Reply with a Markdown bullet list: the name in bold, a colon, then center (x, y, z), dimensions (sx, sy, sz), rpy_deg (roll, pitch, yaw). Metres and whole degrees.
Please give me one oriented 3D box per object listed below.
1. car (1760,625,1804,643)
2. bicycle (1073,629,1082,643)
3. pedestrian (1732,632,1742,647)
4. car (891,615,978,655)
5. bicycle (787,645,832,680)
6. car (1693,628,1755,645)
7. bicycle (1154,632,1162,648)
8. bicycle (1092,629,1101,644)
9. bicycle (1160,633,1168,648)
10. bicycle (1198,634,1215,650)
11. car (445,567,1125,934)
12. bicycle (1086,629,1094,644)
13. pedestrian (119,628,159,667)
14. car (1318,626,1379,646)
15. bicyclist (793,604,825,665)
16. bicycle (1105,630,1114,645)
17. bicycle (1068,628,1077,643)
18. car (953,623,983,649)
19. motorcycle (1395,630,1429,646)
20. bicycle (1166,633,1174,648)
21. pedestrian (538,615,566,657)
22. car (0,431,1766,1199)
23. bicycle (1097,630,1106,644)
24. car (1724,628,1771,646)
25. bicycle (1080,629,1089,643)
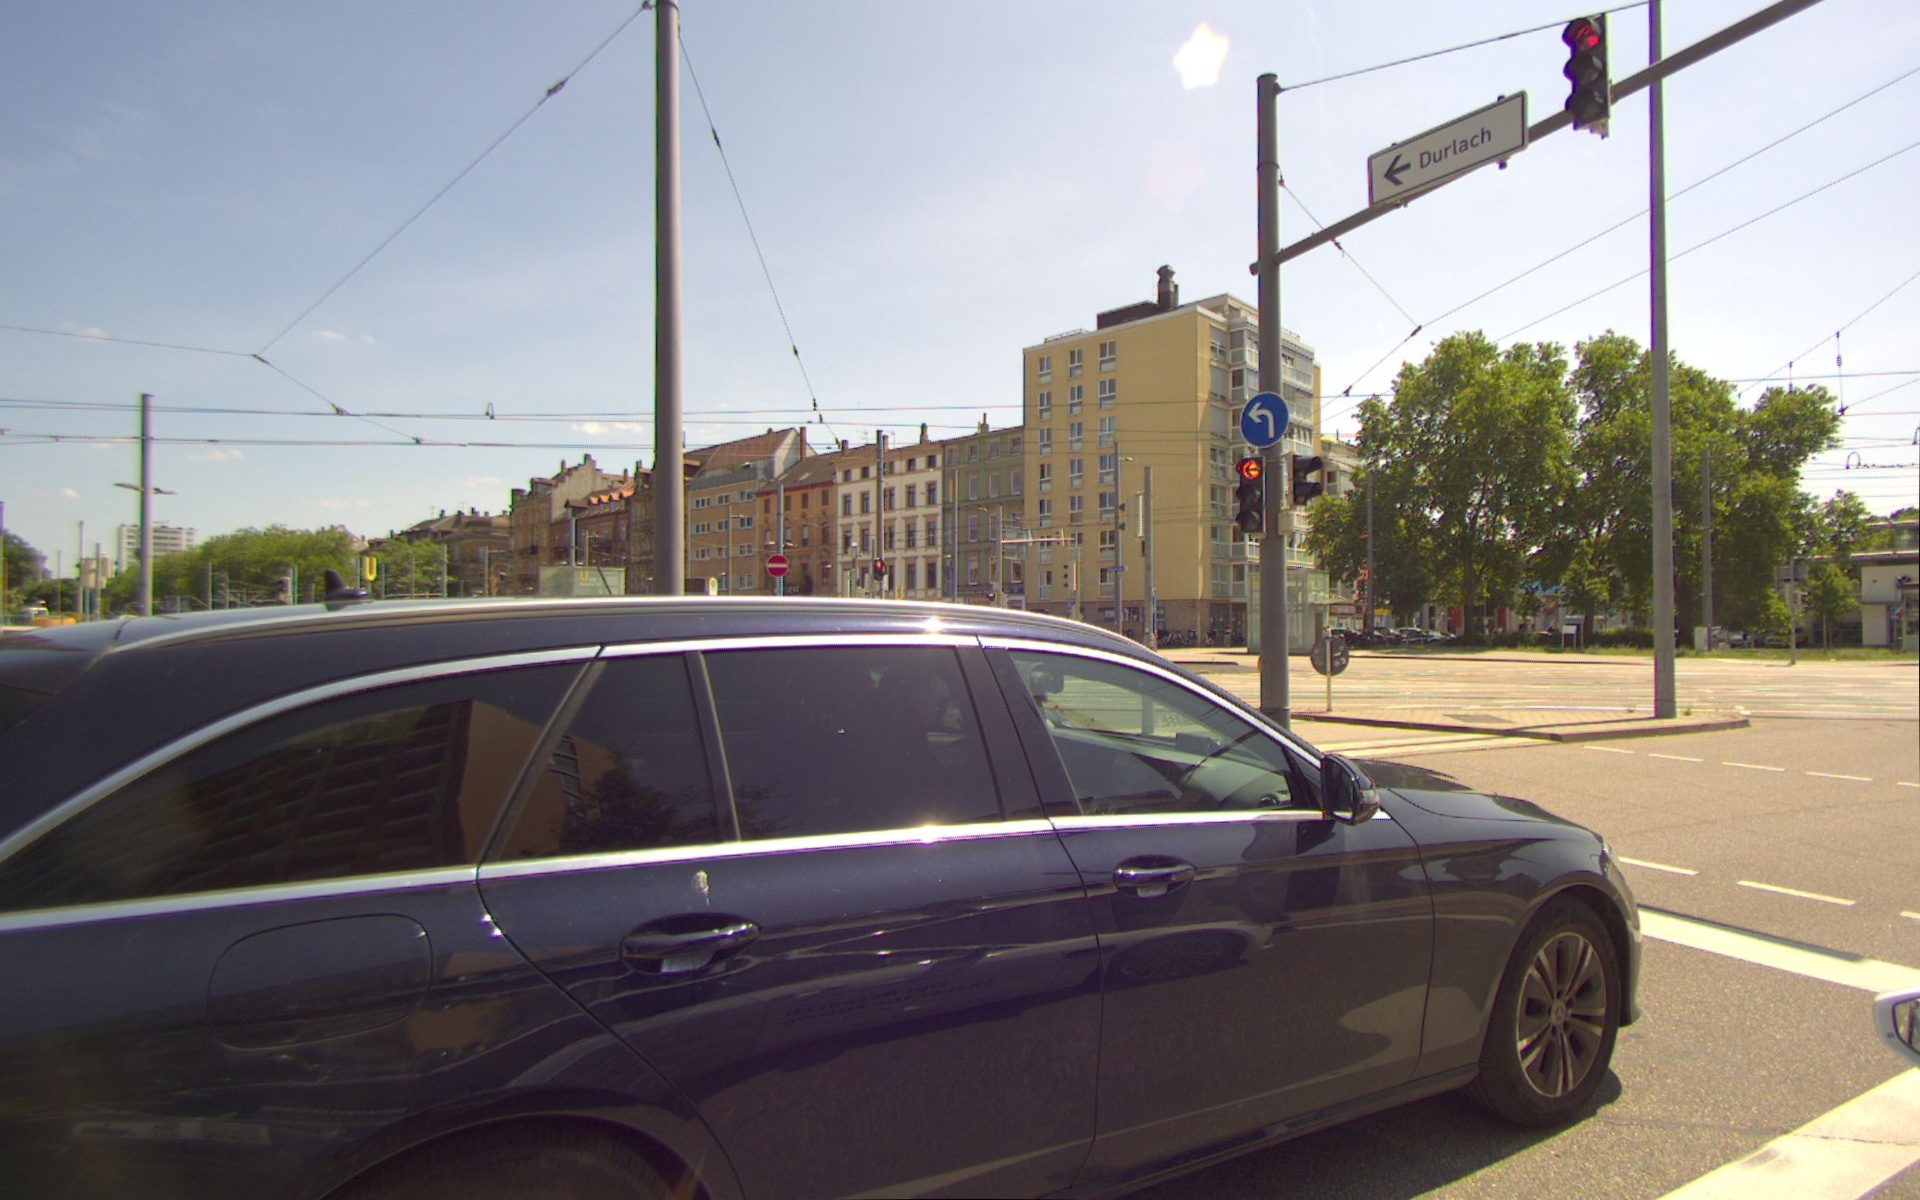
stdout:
- **car**: center (69.157, 2.844, 84.455), dimensions (4.283, 1.530, 1.756), rpy_deg (1, -2, -35)
- **bicycle**: center (8.696, 2.624, 74.010), dimensions (0.424, 1.040, 1.445), rpy_deg (0, -1, 16)
- **pedestrian**: center (65.272, 3.299, 84.338), dimensions (0.439, 1.220, 0.511), rpy_deg (1, -1, -24)
- **car**: center (-1.432, 1.867, 54.052), dimensions (1.987, 2.084, 4.807), rpy_deg (1, -2, -44)
- **bicycle**: center (-3.972, 1.620, 26.359), dimensions (0.620, 0.866, 1.887), rpy_deg (1, -2, -26)
- **car**: center (71.000, 3.380, 93.401), dimensions (4.245, 1.530, 1.771), rpy_deg (-1, -2, 26)
- **bicycle**: center (13.614, 2.752, 69.136), dimensions (0.424, 1.040, 1.445), rpy_deg (0, -1, 16)
- **bicycle**: center (9.926, 2.657, 72.968), dimensions (0.424, 1.040, 1.445), rpy_deg (0, -1, 16)
- **bicycle**: center (13.988, 2.762, 68.825), dimensions (0.424, 1.040, 1.445), rpy_deg (0, -1, 16)
- **bicycle**: center (16.772, 2.847, 68.291), dimensions (0.427, 1.040, 1.435), rpy_deg (-1, -2, 44)
- **car**: center (-0.998, 0.701, 6.056), dimensions (3.692, 1.597, 1.736), rpy_deg (1, -2, -30)
- **bicycle**: center (9.484, 2.645, 73.264), dimensions (0.424, 1.040, 1.445), rpy_deg (0, -1, 16)
- **pedestrian**: center (-28.874, 1.657, 35.336), dimensions (0.978, 1.352, 0.527), rpy_deg (0, -1, 2)
- **car**: center (29.471, 2.726, 76.278), dimensions (3.940, 1.439, 1.991), rpy_deg (-1, -2, 40)
- **bicyclist**: center (-3.984, 0.888, 26.464), dimensions (0.433, 1.549, 1.245), rpy_deg (2, 0, -26)
- **bicycle**: center (10.760, 2.680, 72.312), dimensions (0.424, 1.040, 1.445), rpy_deg (0, -1, 16)
- **bicycle**: center (8.354, 2.615, 74.349), dimensions (0.424, 1.040, 1.445), rpy_deg (0, -1, 16)
- **car**: center (0.558, 2.535, 70.489), dimensions (1.803, 1.773, 3.998), rpy_deg (0, -1, -4)
- **motorcycle**: center (28.411, 2.369, 63.092), dimensions (1.887, 0.974, 0.524), rpy_deg (-1, -1, 31)
- **bicycle**: center (14.358, 2.772, 68.560), dimensions (0.424, 1.040, 1.445), rpy_deg (0, -1, 16)
- **pedestrian**: center (-18.118, 1.592, 44.584), dimensions (1.114, 1.837, 0.677), rpy_deg (-1, -2, 38)
- **car**: center (0.105, 0.665, 2.852), dimensions (4.747, 1.662, 1.789), rpy_deg (1, 0, -30)
- **bicycle**: center (10.242, 2.665, 72.571), dimensions (0.424, 1.040, 1.445), rpy_deg (0, -1, 16)
- **car**: center (68.292, 3.173, 87.093), dimensions (4.274, 1.530, 1.759), rpy_deg (1, -2, -29)
- **bicycle**: center (9.123, 2.635, 73.573), dimensions (0.424, 1.040, 1.445), rpy_deg (0, -1, 16)
